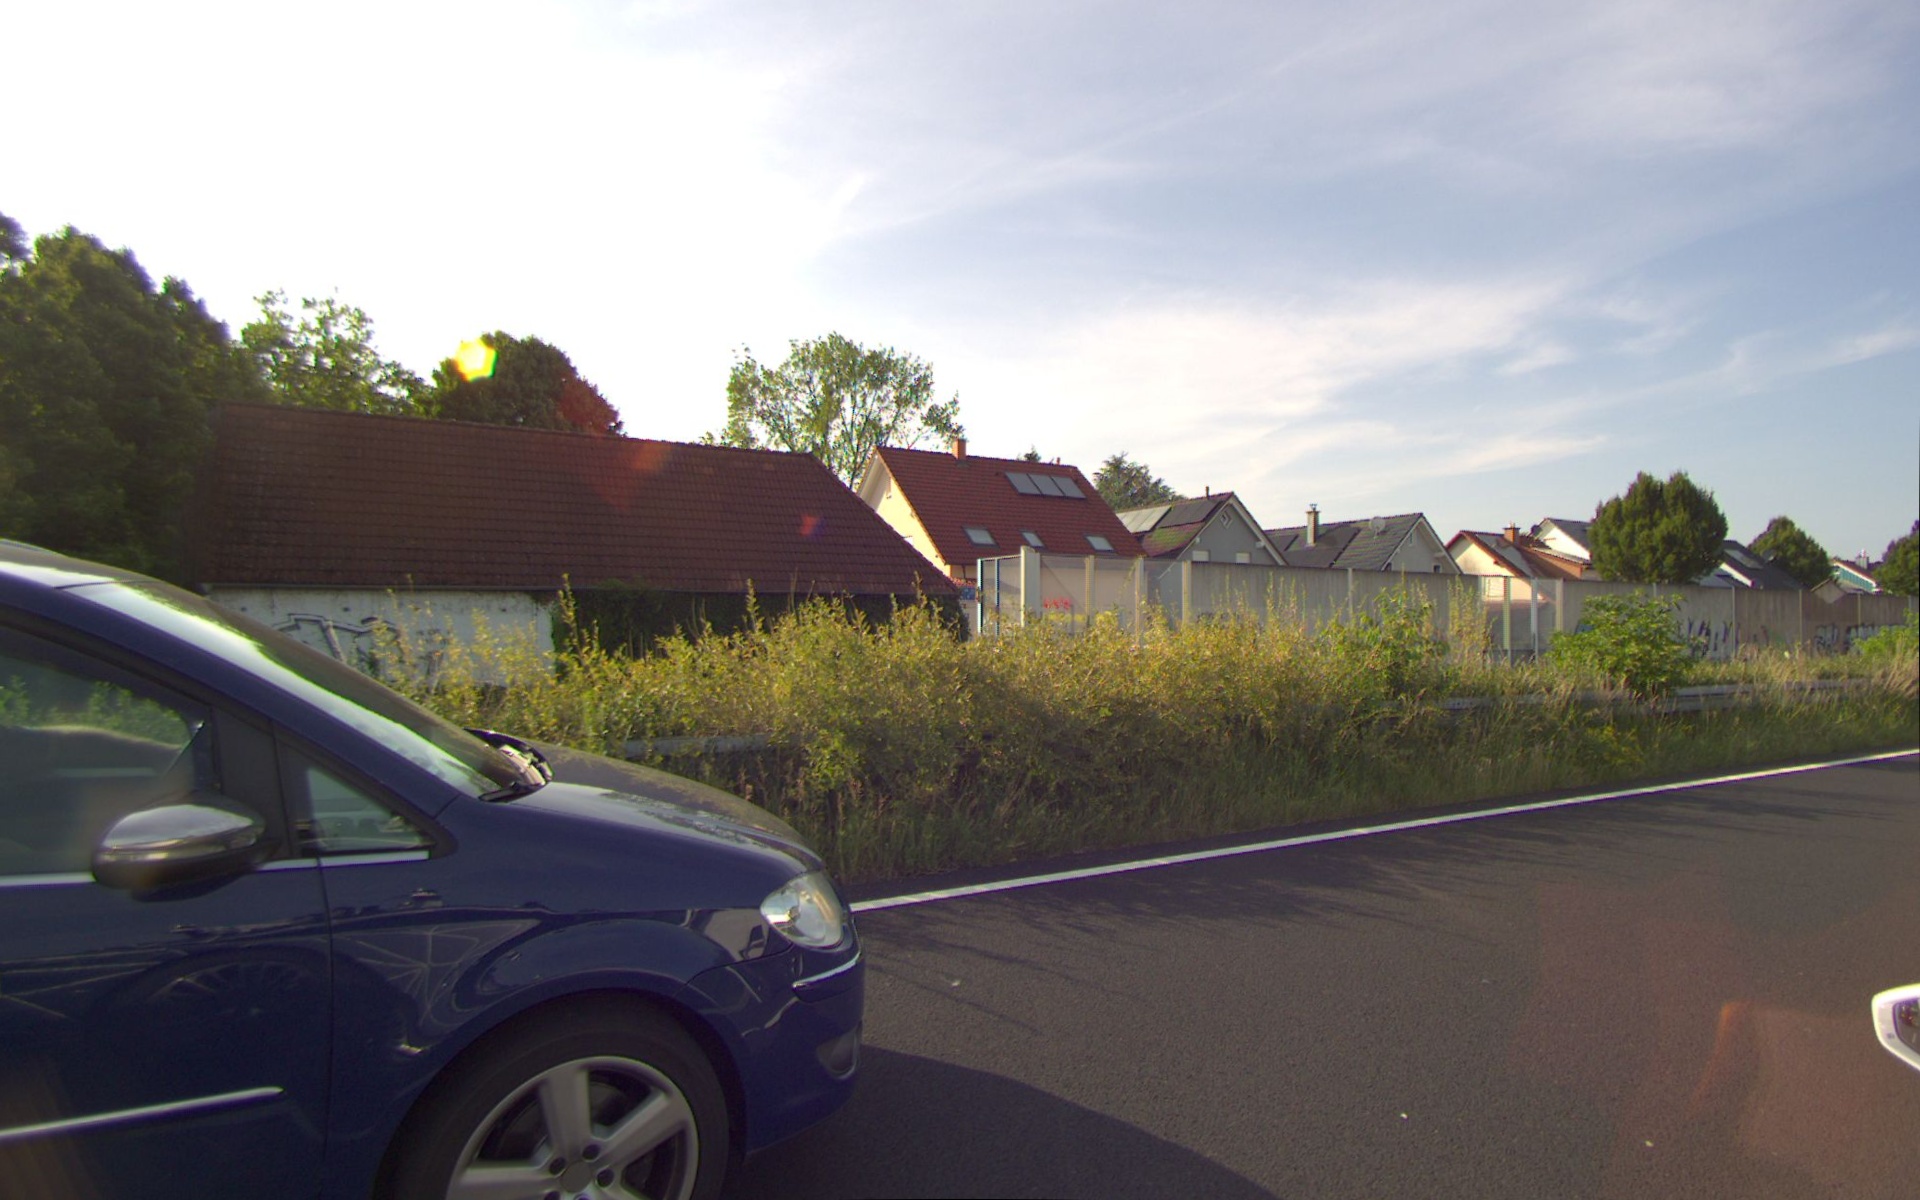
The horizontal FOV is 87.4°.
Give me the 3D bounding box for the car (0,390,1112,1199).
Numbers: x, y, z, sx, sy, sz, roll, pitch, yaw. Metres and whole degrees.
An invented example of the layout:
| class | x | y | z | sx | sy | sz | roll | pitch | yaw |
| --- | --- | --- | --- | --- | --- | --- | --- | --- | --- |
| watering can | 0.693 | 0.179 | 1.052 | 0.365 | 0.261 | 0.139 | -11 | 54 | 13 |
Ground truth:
| class | x | y | z | sx | sy | sz | roll | pitch | yaw |
| --- | --- | --- | --- | --- | --- | --- | --- | --- | --- |
| car | -2.047 | 0.503 | 2.200 | 4.627 | 1.643 | 1.764 | 2 | -1 | -30 |
